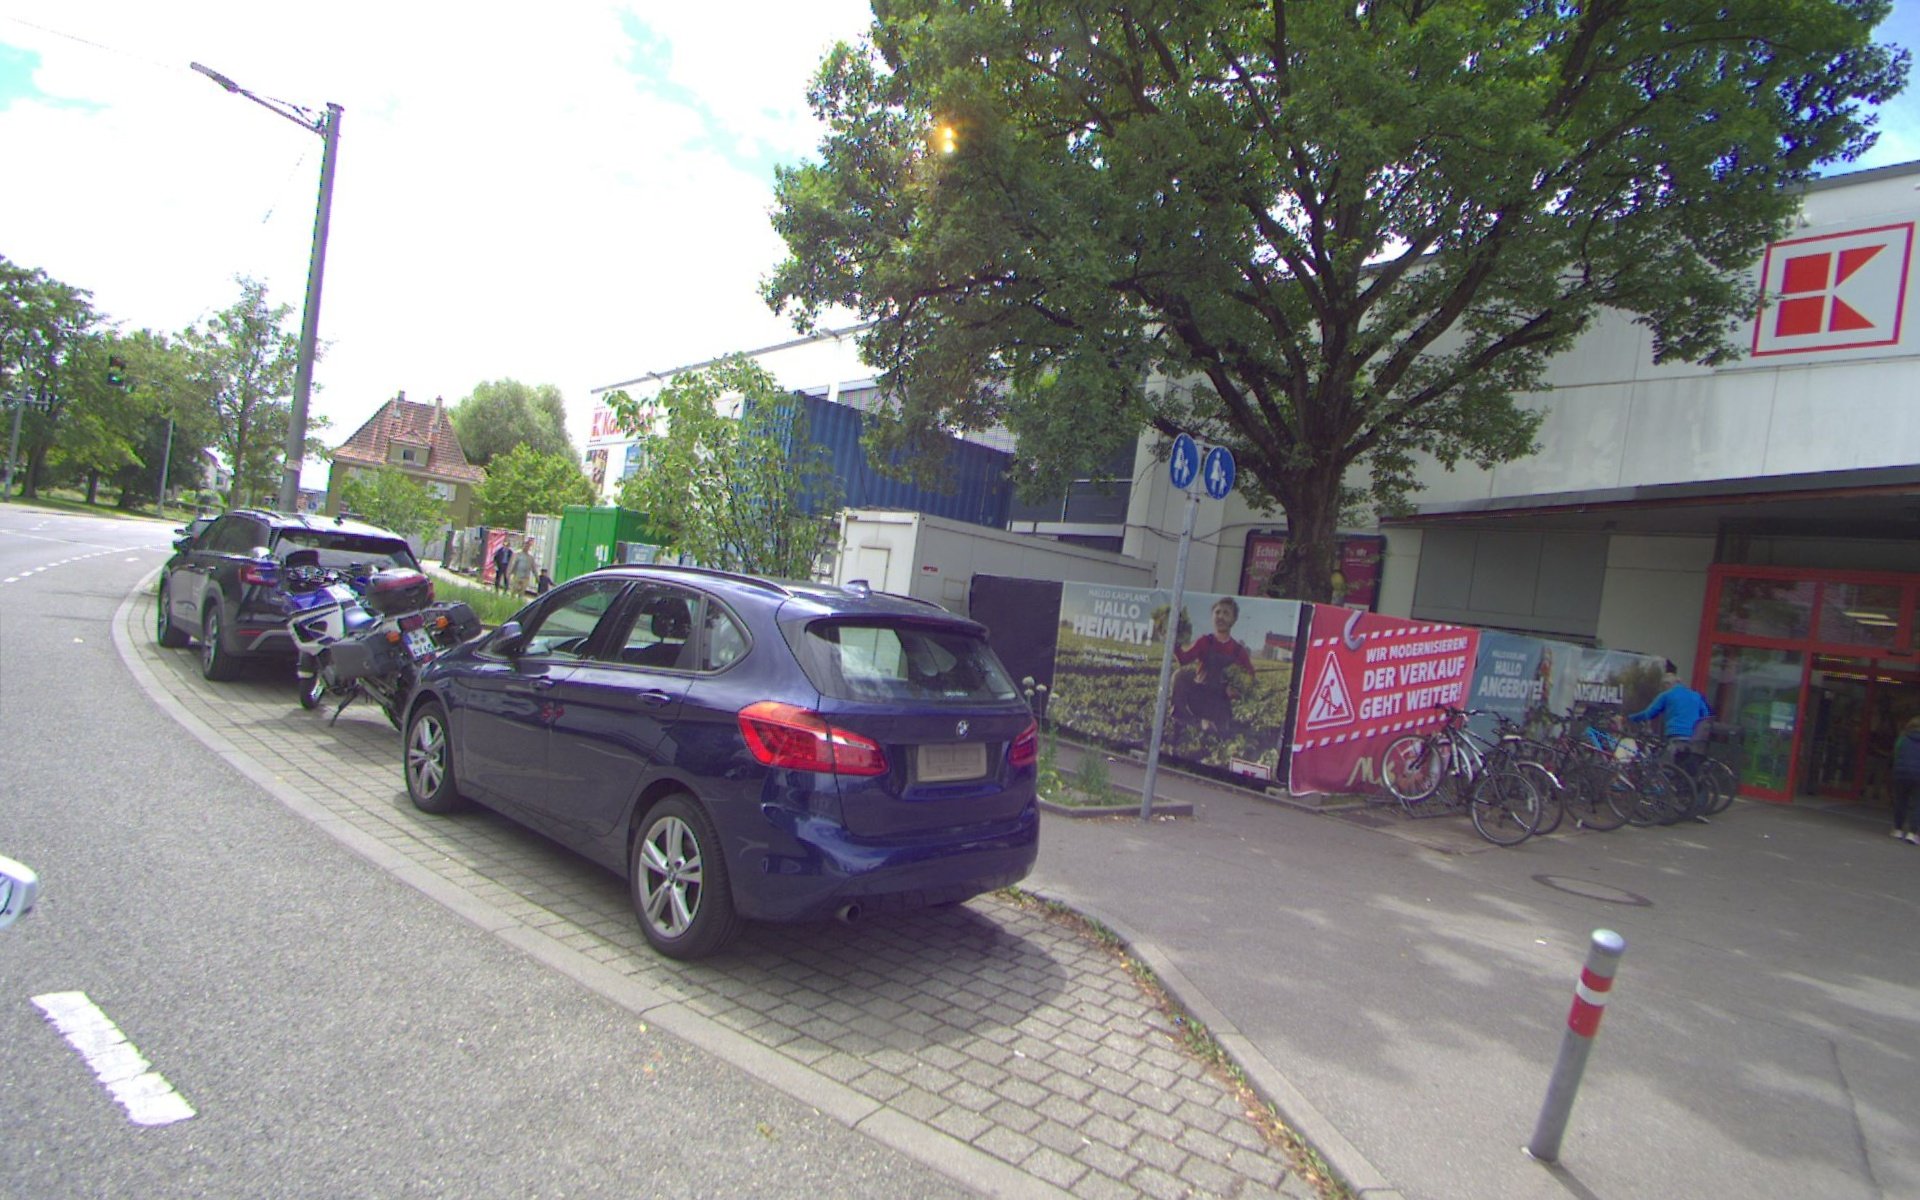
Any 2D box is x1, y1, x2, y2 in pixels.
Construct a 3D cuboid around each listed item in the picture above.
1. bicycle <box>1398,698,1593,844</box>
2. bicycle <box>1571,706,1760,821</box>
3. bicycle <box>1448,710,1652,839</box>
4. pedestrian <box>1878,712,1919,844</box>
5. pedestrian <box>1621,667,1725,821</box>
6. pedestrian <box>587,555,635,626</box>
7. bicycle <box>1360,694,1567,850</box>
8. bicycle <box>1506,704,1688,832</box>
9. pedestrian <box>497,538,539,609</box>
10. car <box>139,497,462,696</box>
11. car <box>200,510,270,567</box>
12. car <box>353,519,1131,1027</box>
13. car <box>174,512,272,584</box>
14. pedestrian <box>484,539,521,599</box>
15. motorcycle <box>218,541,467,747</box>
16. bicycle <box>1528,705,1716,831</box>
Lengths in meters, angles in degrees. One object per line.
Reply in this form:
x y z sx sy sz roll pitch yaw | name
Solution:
5.531 1.735 10.519 0.495 1.169 1.764 8 -1 -22 | bicycle
9.371 2.145 13.451 0.525 1.169 1.896 8 -1 -33 | bicycle
6.470 1.882 11.114 0.518 1.053 1.779 6 0 -43 | bicycle
12.129 2.259 12.745 0.621 1.586 0.490 7 0 -36 | pedestrian
8.901 1.772 12.562 0.618 1.779 0.741 4 2 -35 | pedestrian
-8.713 -0.241 25.128 0.739 1.637 0.759 8 0 -39 | pedestrian
4.852 1.626 9.843 0.446 1.169 1.779 8 -1 -26 | bicycle
7.425 1.933 11.799 0.422 1.169 1.645 8 -1 -36 | bicycle
-11.309 -0.674 25.752 0.647 1.717 0.717 8 0 -38 | pedestrian
-7.367 -0.132 10.984 4.783 1.642 1.874 7 0 44 | car
-24.493 -2.080 34.036 1.726 1.637 4.344 5 1 -35 | car
-1.501 0.551 5.594 4.368 1.598 1.913 7 0 42 | car
-18.586 -1.341 25.325 1.754 1.496 4.884 5 1 -38 | car
-13.855 -0.941 30.440 0.649 1.717 0.835 8 0 -39 | pedestrian
-5.014 0.291 8.088 2.229 1.322 1.068 7 2 42 | motorcycle
7.970 2.000 12.190 0.436 1.169 1.749 8 -1 -38 | bicycle
